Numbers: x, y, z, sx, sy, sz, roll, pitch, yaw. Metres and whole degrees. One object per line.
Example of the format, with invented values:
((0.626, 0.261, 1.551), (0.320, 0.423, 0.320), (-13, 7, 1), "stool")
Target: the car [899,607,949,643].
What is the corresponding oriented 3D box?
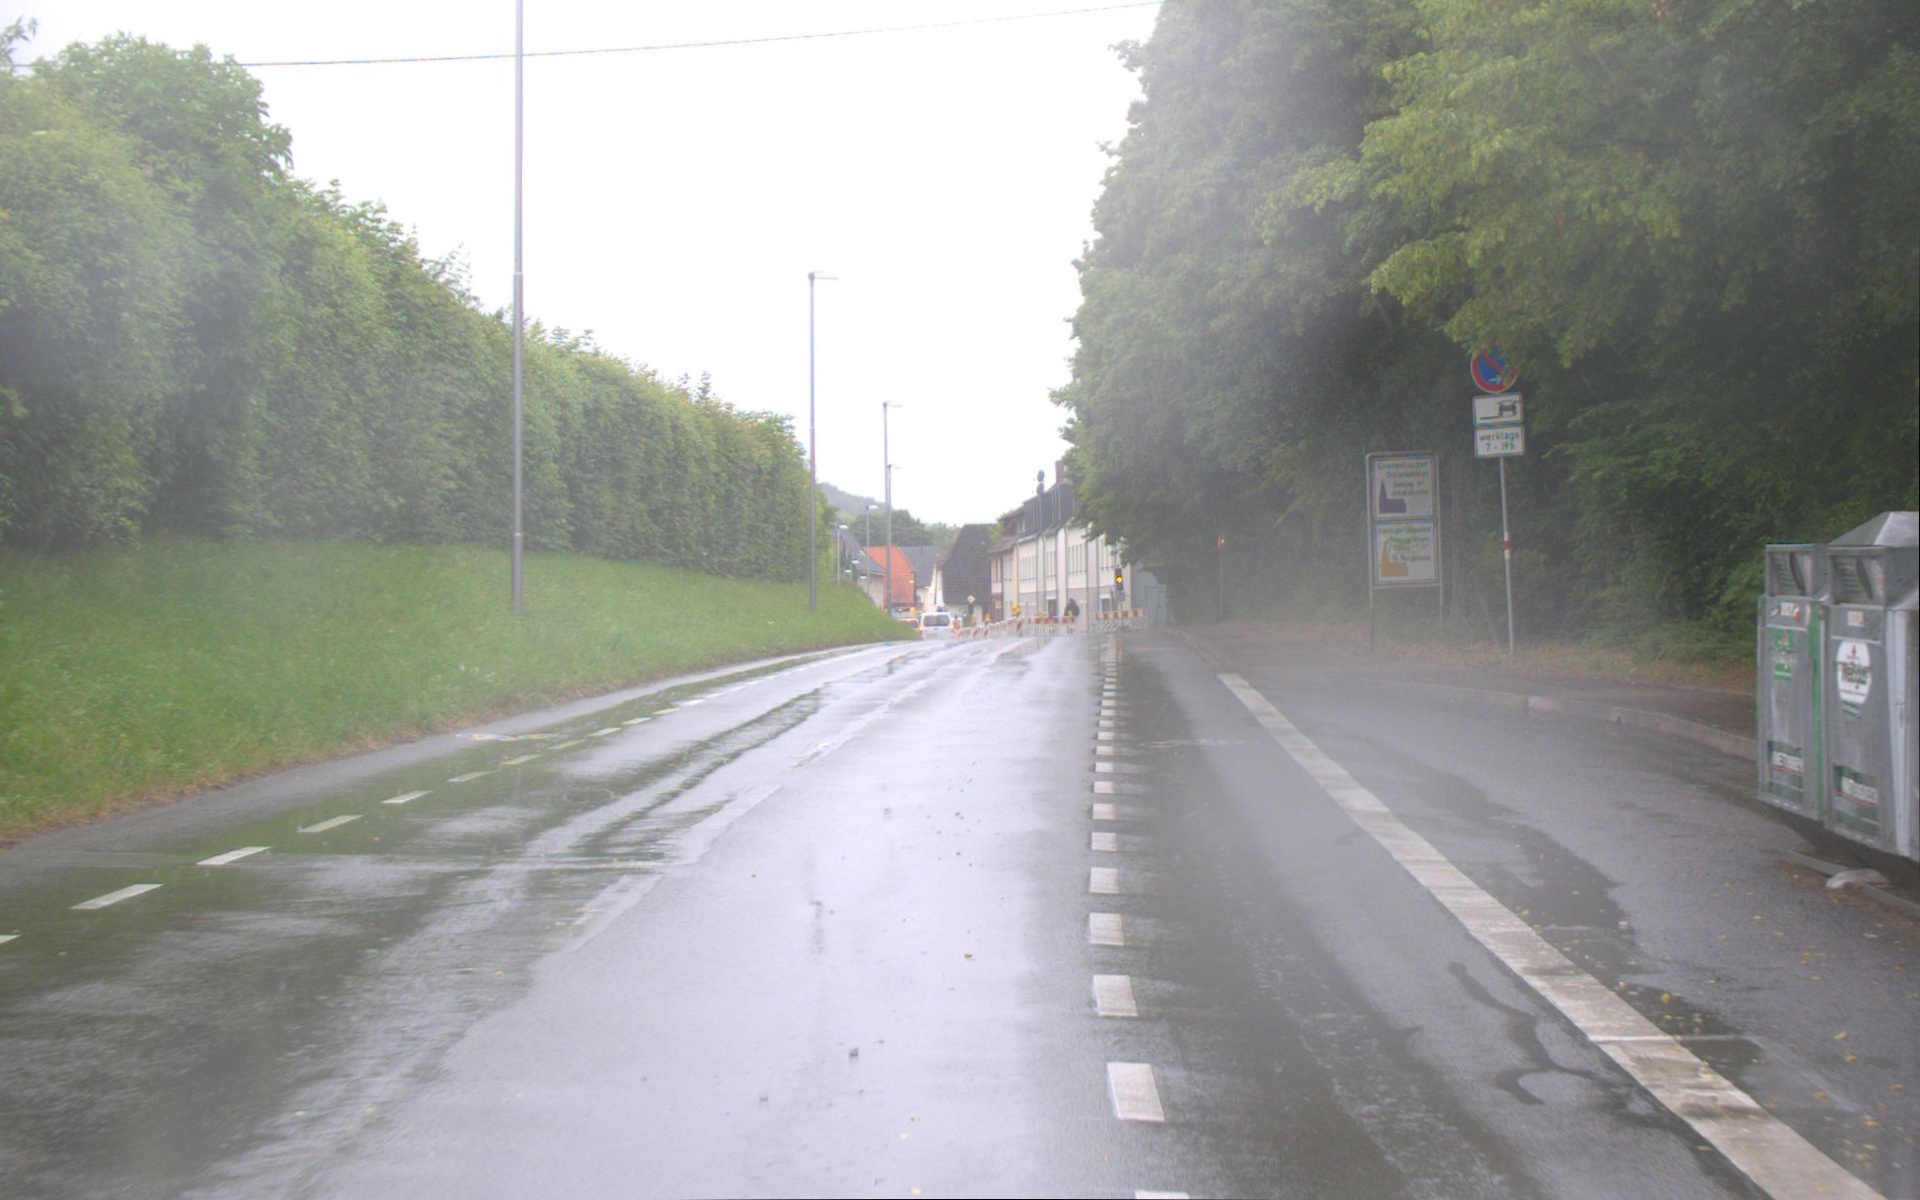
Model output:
((-1.788, 1.231, 169.500), (1.993, 1.605, 4.001), (1, 1, -7), "car")
